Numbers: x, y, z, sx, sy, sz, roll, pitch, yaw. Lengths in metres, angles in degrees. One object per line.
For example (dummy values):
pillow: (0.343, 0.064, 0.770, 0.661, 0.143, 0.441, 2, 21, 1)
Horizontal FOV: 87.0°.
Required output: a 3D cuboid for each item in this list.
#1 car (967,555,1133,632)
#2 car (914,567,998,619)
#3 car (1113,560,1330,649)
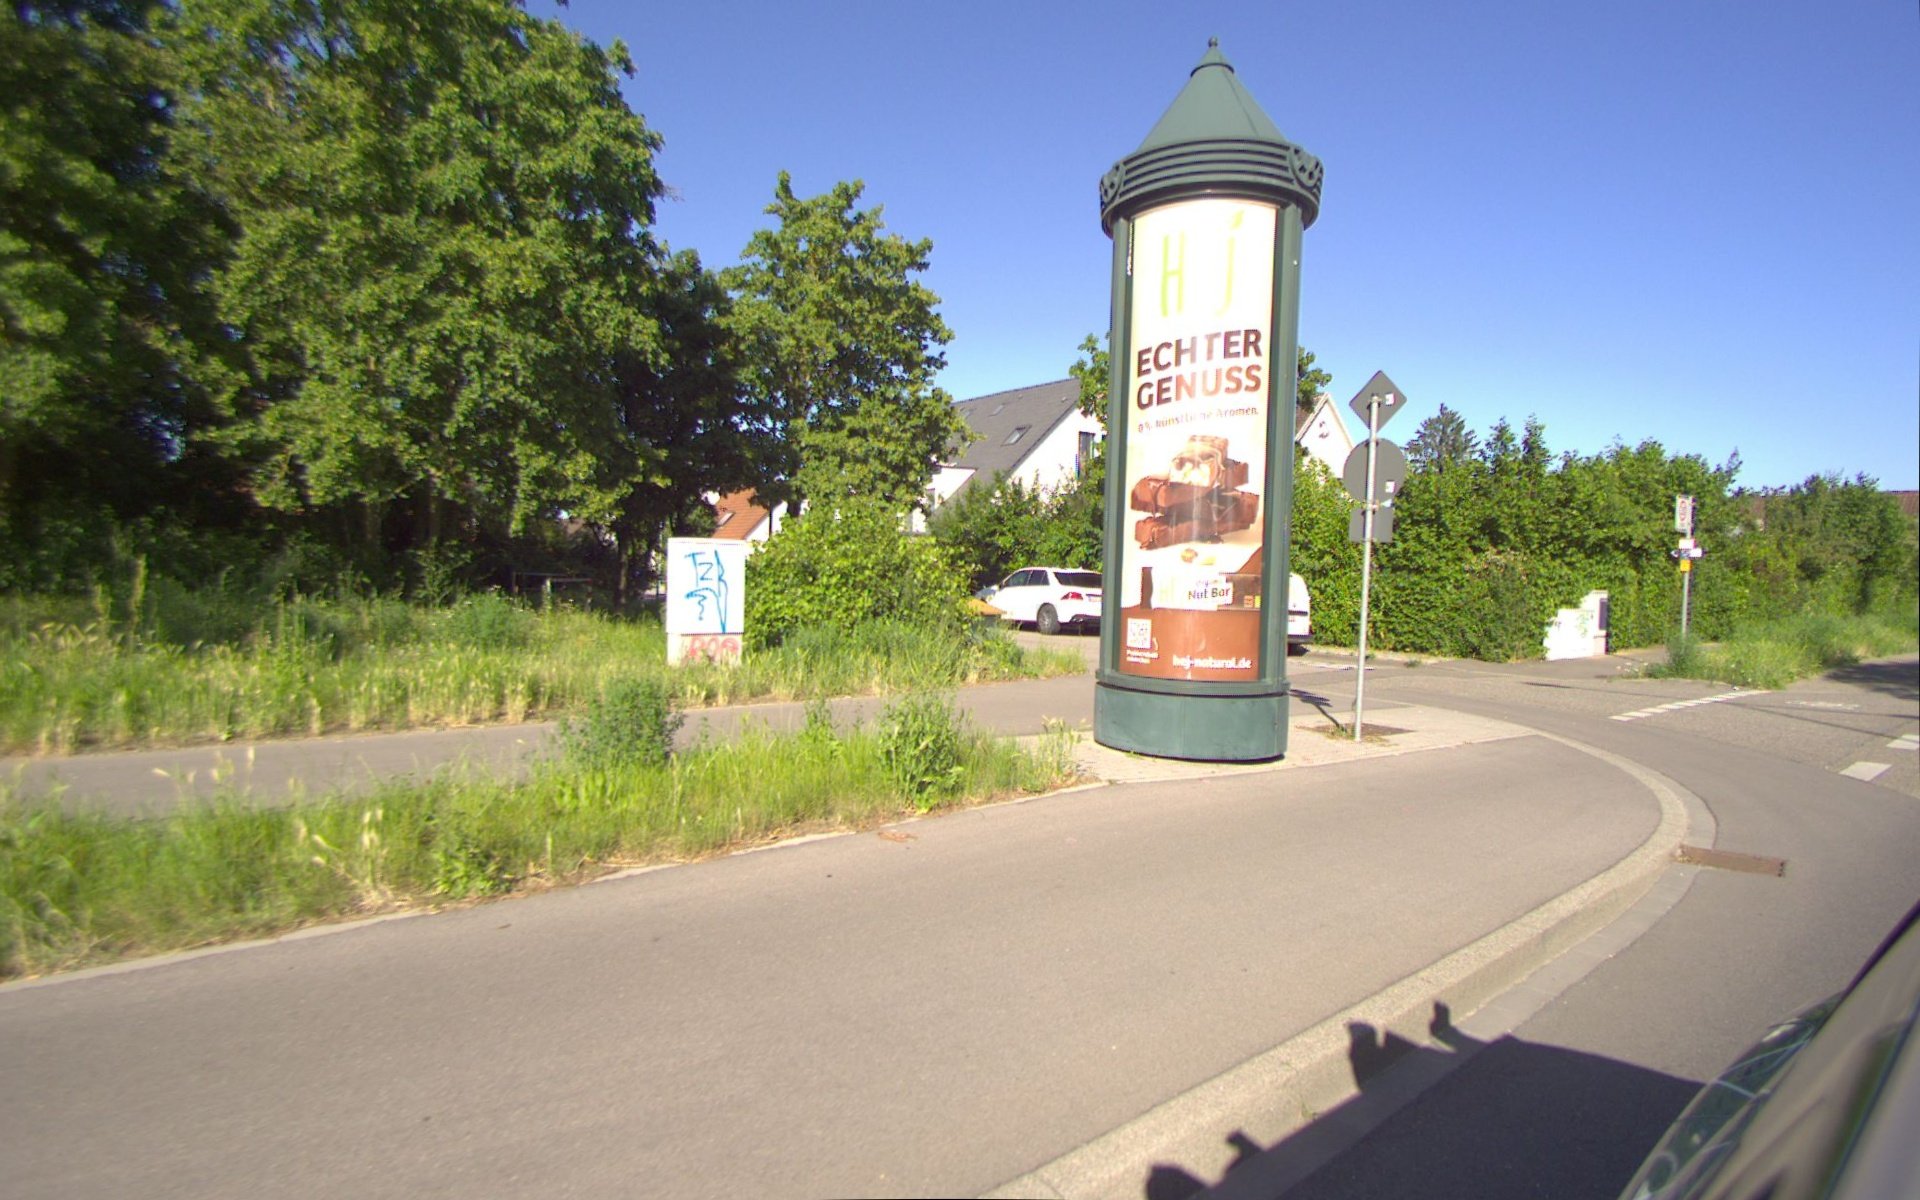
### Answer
car: (2.371, -0.225, 27.849, 2.032, 1.892, 4.532, 2, 1, -36)
car: (-0.149, -0.229, 31.890, 1.511, 1.508, 2.354, 2, 0, -36)
car: (5.867, 0.046, 23.239, 1.896, 1.824, 4.646, 2, 1, -36)
